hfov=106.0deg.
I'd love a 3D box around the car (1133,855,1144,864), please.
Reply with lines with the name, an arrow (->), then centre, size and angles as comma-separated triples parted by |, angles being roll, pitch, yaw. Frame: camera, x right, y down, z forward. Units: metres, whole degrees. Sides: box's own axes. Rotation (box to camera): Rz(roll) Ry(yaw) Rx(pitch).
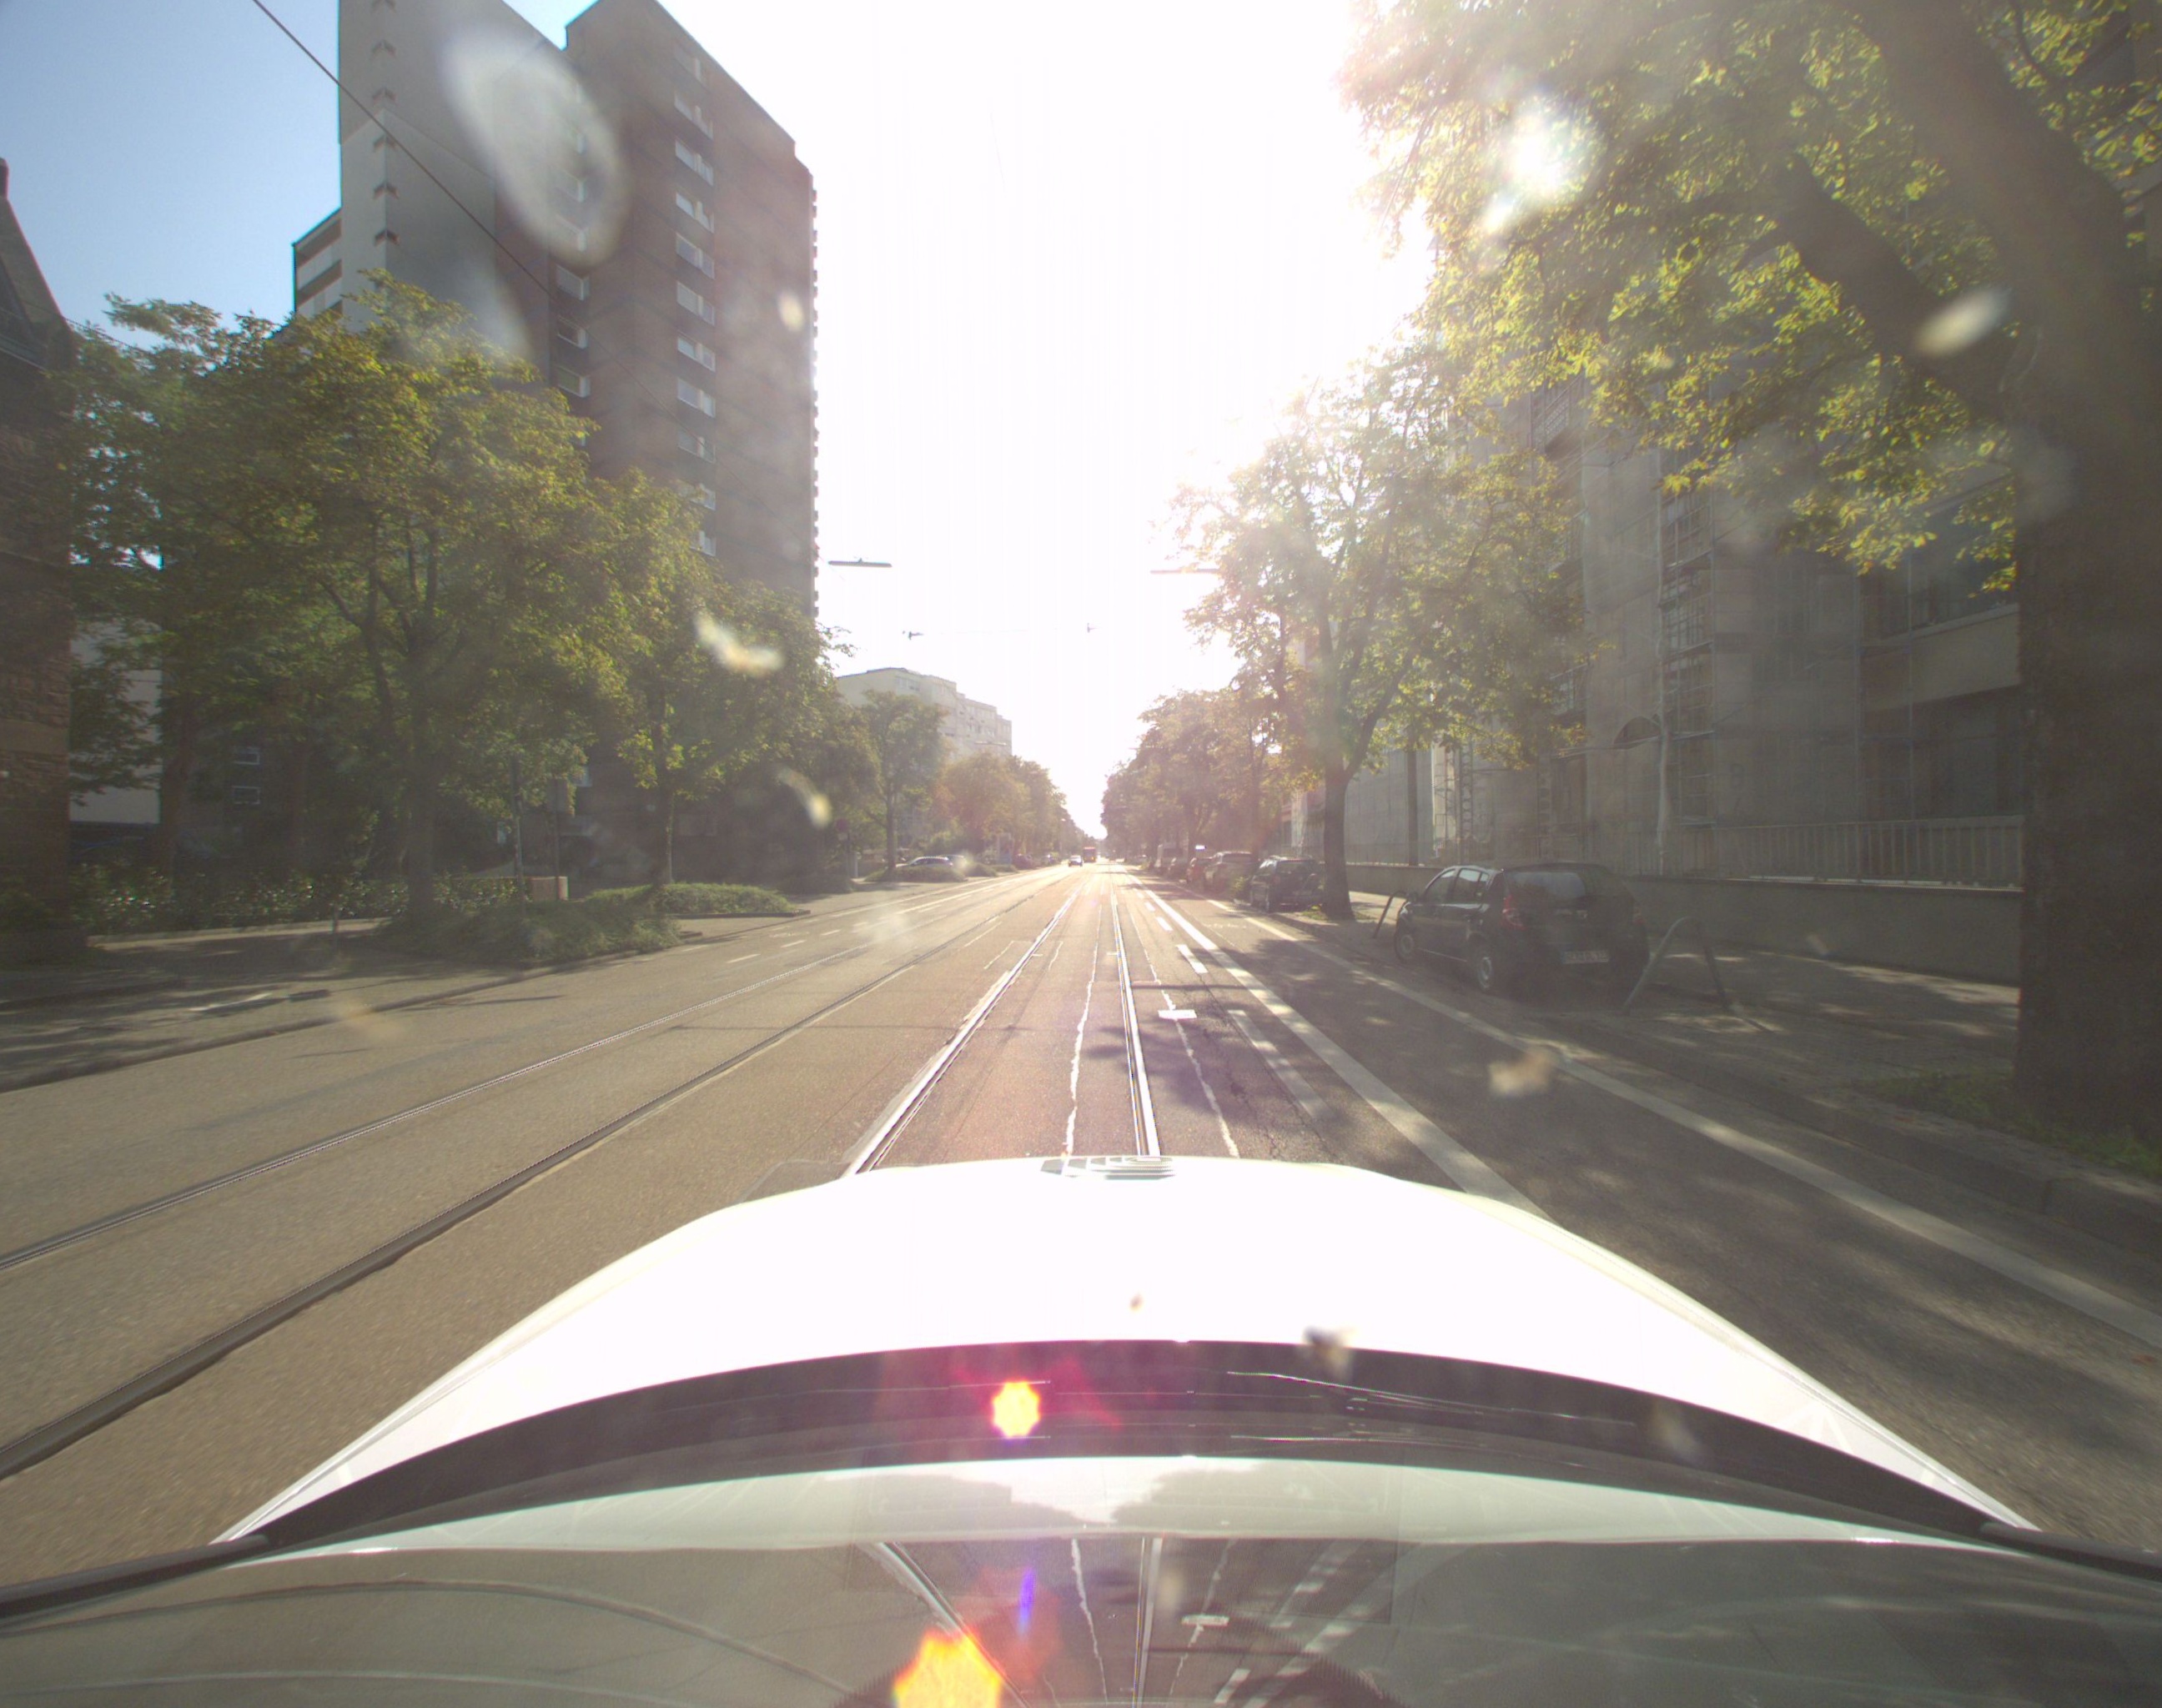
car -> 9.256, 0.883, 131.169 | 1.588, 1.418, 3.637 | 0, 0, 3

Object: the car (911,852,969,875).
car -> -9.651, 0.670, 55.718 | 3.650, 1.515, 1.609 | 1, 0, -24

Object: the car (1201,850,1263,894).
car -> 6.189, 0.680, 33.757 | 1.748, 1.691, 4.396 | 0, 0, 0

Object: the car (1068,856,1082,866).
car -> -0.794, 0.923, 108.517 | 1.822, 1.376, 4.513 | 0, 0, 1

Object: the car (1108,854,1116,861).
car -> 7.738, 0.903, 204.302 | 1.985, 1.838, 4.003 | 0, 0, 3

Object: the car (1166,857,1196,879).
car -> 6.632, 0.899, 54.422 | 1.610, 1.374, 4.830 | -1, 0, 3

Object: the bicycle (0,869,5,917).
bicycle -> -13.507, 0.651, 9.077 | 1.809, 1.074, 0.418 | 4, -2, -21

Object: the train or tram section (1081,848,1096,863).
train or tram section -> 1.645, 0.281, 170.450 | 2.718, 2.894, 15.461 | -1, 0, 2

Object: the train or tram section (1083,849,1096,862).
train or tram section -> 2.019, 0.365, 181.472 | 2.718, 2.849, 6.546 | -1, 0, 2

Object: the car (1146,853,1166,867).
car -> 7.738, 0.609, 83.841 | 1.747, 1.377, 4.721 | -2, 0, 2

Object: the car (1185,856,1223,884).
car -> 6.634, 0.825, 44.308 | 1.610, 1.413, 4.002 | -1, 0, 2

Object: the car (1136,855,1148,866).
car -> 8.770, 0.931, 117.346 | 1.683, 1.418, 3.637 | 0, 0, 3

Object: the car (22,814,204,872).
car -> -44.924, -0.508, 37.938 | 5.203, 2.596, 2.011 | -1, 0, -15

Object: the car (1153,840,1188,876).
car -> 7.031, 0.312, 64.784 | 2.075, 2.552, 5.501 | -4, 0, 0

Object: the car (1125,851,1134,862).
car -> 11.108, 0.531, 186.189 | 1.996, 2.475, 4.480 | 0, 0, 3

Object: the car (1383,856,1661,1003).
car -> 5.401, 0.810, 10.576 | 1.639, 1.511, 3.780 | -2, 0, 2

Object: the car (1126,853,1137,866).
car -> 9.828, 1.069, 159.122 | 1.996, 2.490, 4.479 | 3, -1, 3

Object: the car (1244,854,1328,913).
car -> 5.833, 0.780, 23.542 | 1.570, 1.485, 3.741 | -2, 0, 2

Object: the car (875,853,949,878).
car -> -10.167, 0.666, 49.023 | 4.010, 1.479, 1.773 | 0, 0, -28

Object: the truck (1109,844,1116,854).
truck -> 9.637, -1.502, 248.928 | 1.855, 3.131, 4.351 | 0, 0, 0
